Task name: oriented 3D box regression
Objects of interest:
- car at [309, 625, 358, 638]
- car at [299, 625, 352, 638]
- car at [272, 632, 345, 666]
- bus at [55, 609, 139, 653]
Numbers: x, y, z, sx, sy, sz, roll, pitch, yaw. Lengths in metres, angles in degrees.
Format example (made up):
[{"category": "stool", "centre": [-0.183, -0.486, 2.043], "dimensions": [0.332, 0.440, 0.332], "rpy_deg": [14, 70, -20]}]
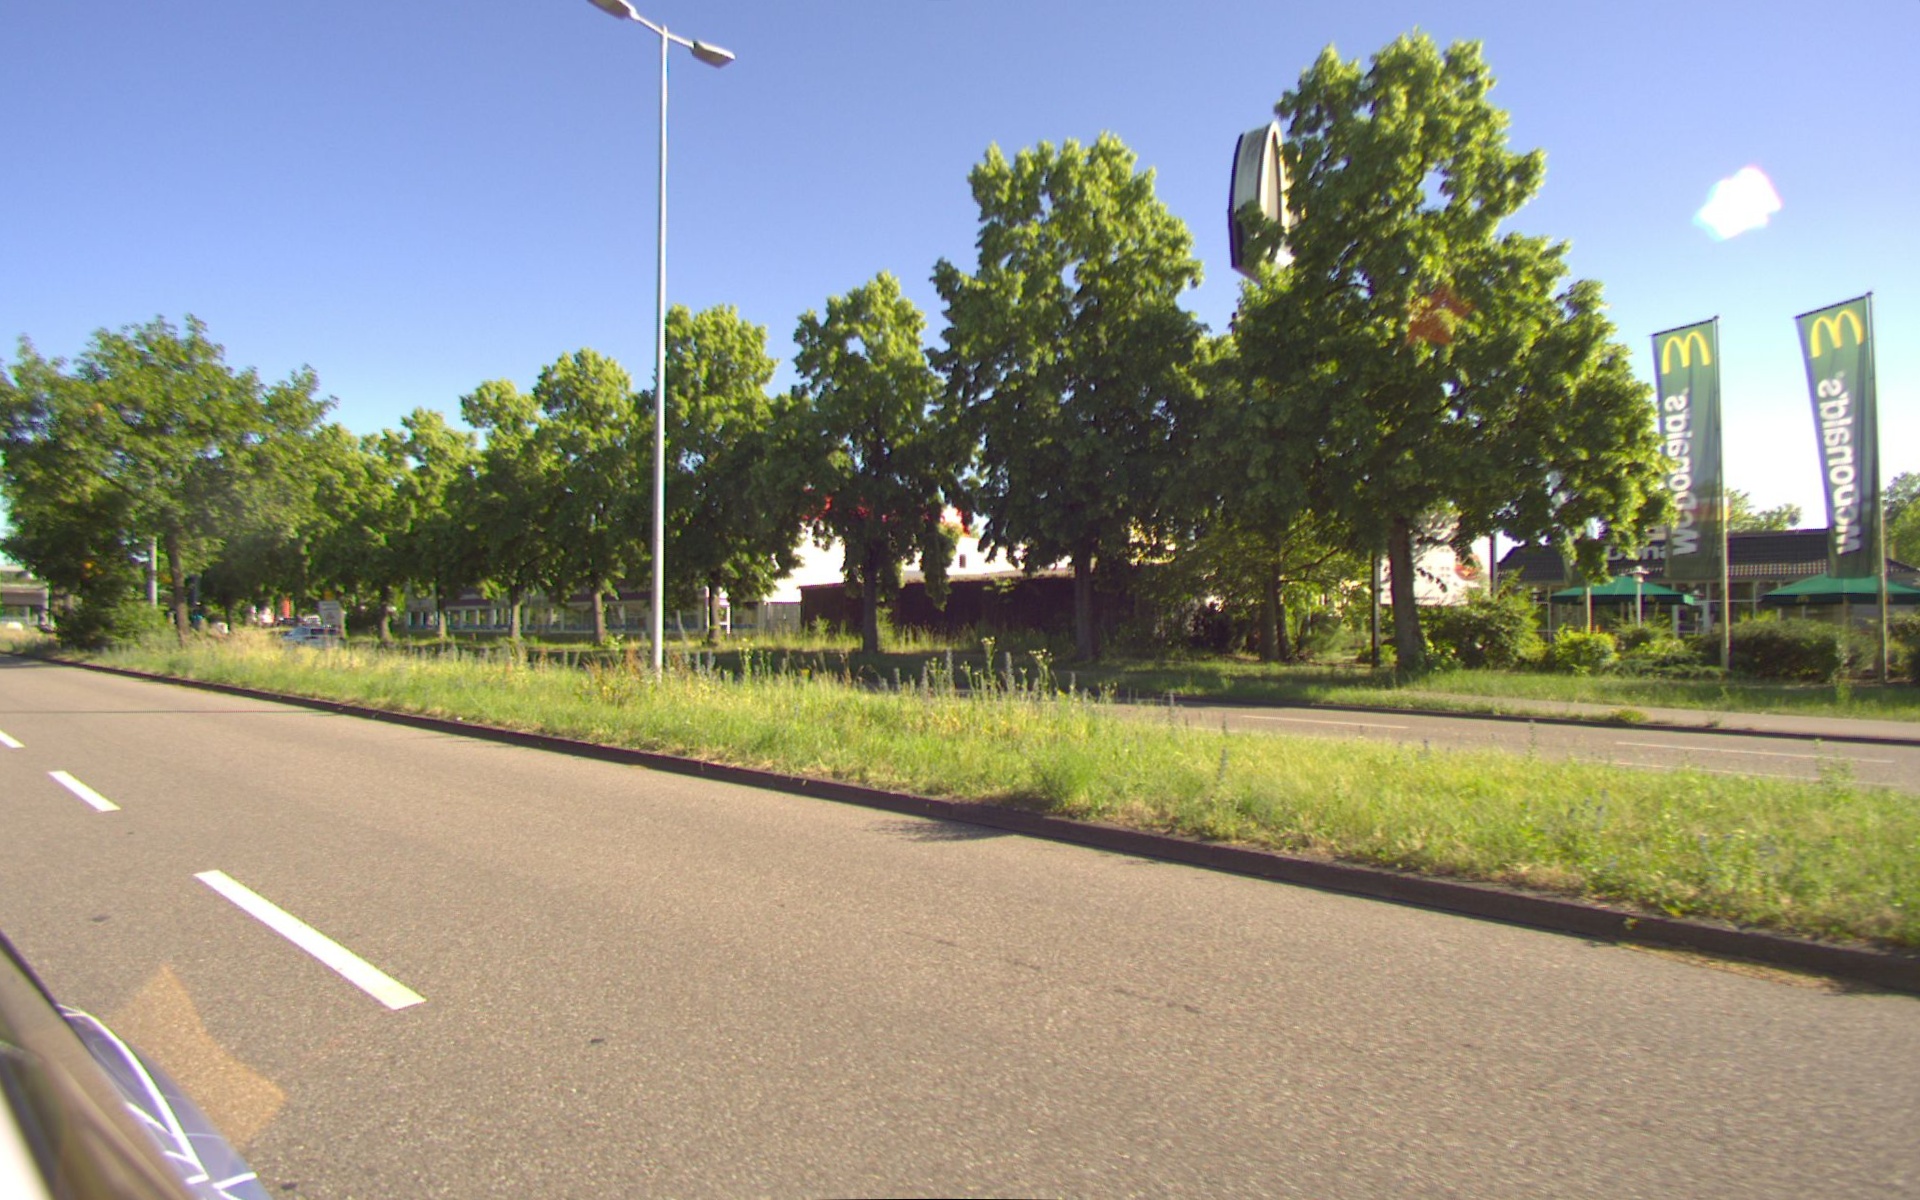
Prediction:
[{"category": "car", "centre": [-67.258, 3.410, 108.733], "dimensions": [1.944, 1.399, 4.079], "rpy_deg": [-2, -3, 38]}, {"category": "car", "centre": [-69.330, 3.426, 110.593], "dimensions": [1.946, 1.399, 4.570], "rpy_deg": [-2, -3, 41]}, {"category": "car", "centre": [-31.229, 2.361, 48.464], "dimensions": [4.527, 1.532, 1.737], "rpy_deg": [-2, -5, 42]}, {"category": "bus", "centre": [-60.025, 2.188, 70.287], "dimensions": [11.081, 2.742, 2.692], "rpy_deg": [-2, -5, 41]}]
